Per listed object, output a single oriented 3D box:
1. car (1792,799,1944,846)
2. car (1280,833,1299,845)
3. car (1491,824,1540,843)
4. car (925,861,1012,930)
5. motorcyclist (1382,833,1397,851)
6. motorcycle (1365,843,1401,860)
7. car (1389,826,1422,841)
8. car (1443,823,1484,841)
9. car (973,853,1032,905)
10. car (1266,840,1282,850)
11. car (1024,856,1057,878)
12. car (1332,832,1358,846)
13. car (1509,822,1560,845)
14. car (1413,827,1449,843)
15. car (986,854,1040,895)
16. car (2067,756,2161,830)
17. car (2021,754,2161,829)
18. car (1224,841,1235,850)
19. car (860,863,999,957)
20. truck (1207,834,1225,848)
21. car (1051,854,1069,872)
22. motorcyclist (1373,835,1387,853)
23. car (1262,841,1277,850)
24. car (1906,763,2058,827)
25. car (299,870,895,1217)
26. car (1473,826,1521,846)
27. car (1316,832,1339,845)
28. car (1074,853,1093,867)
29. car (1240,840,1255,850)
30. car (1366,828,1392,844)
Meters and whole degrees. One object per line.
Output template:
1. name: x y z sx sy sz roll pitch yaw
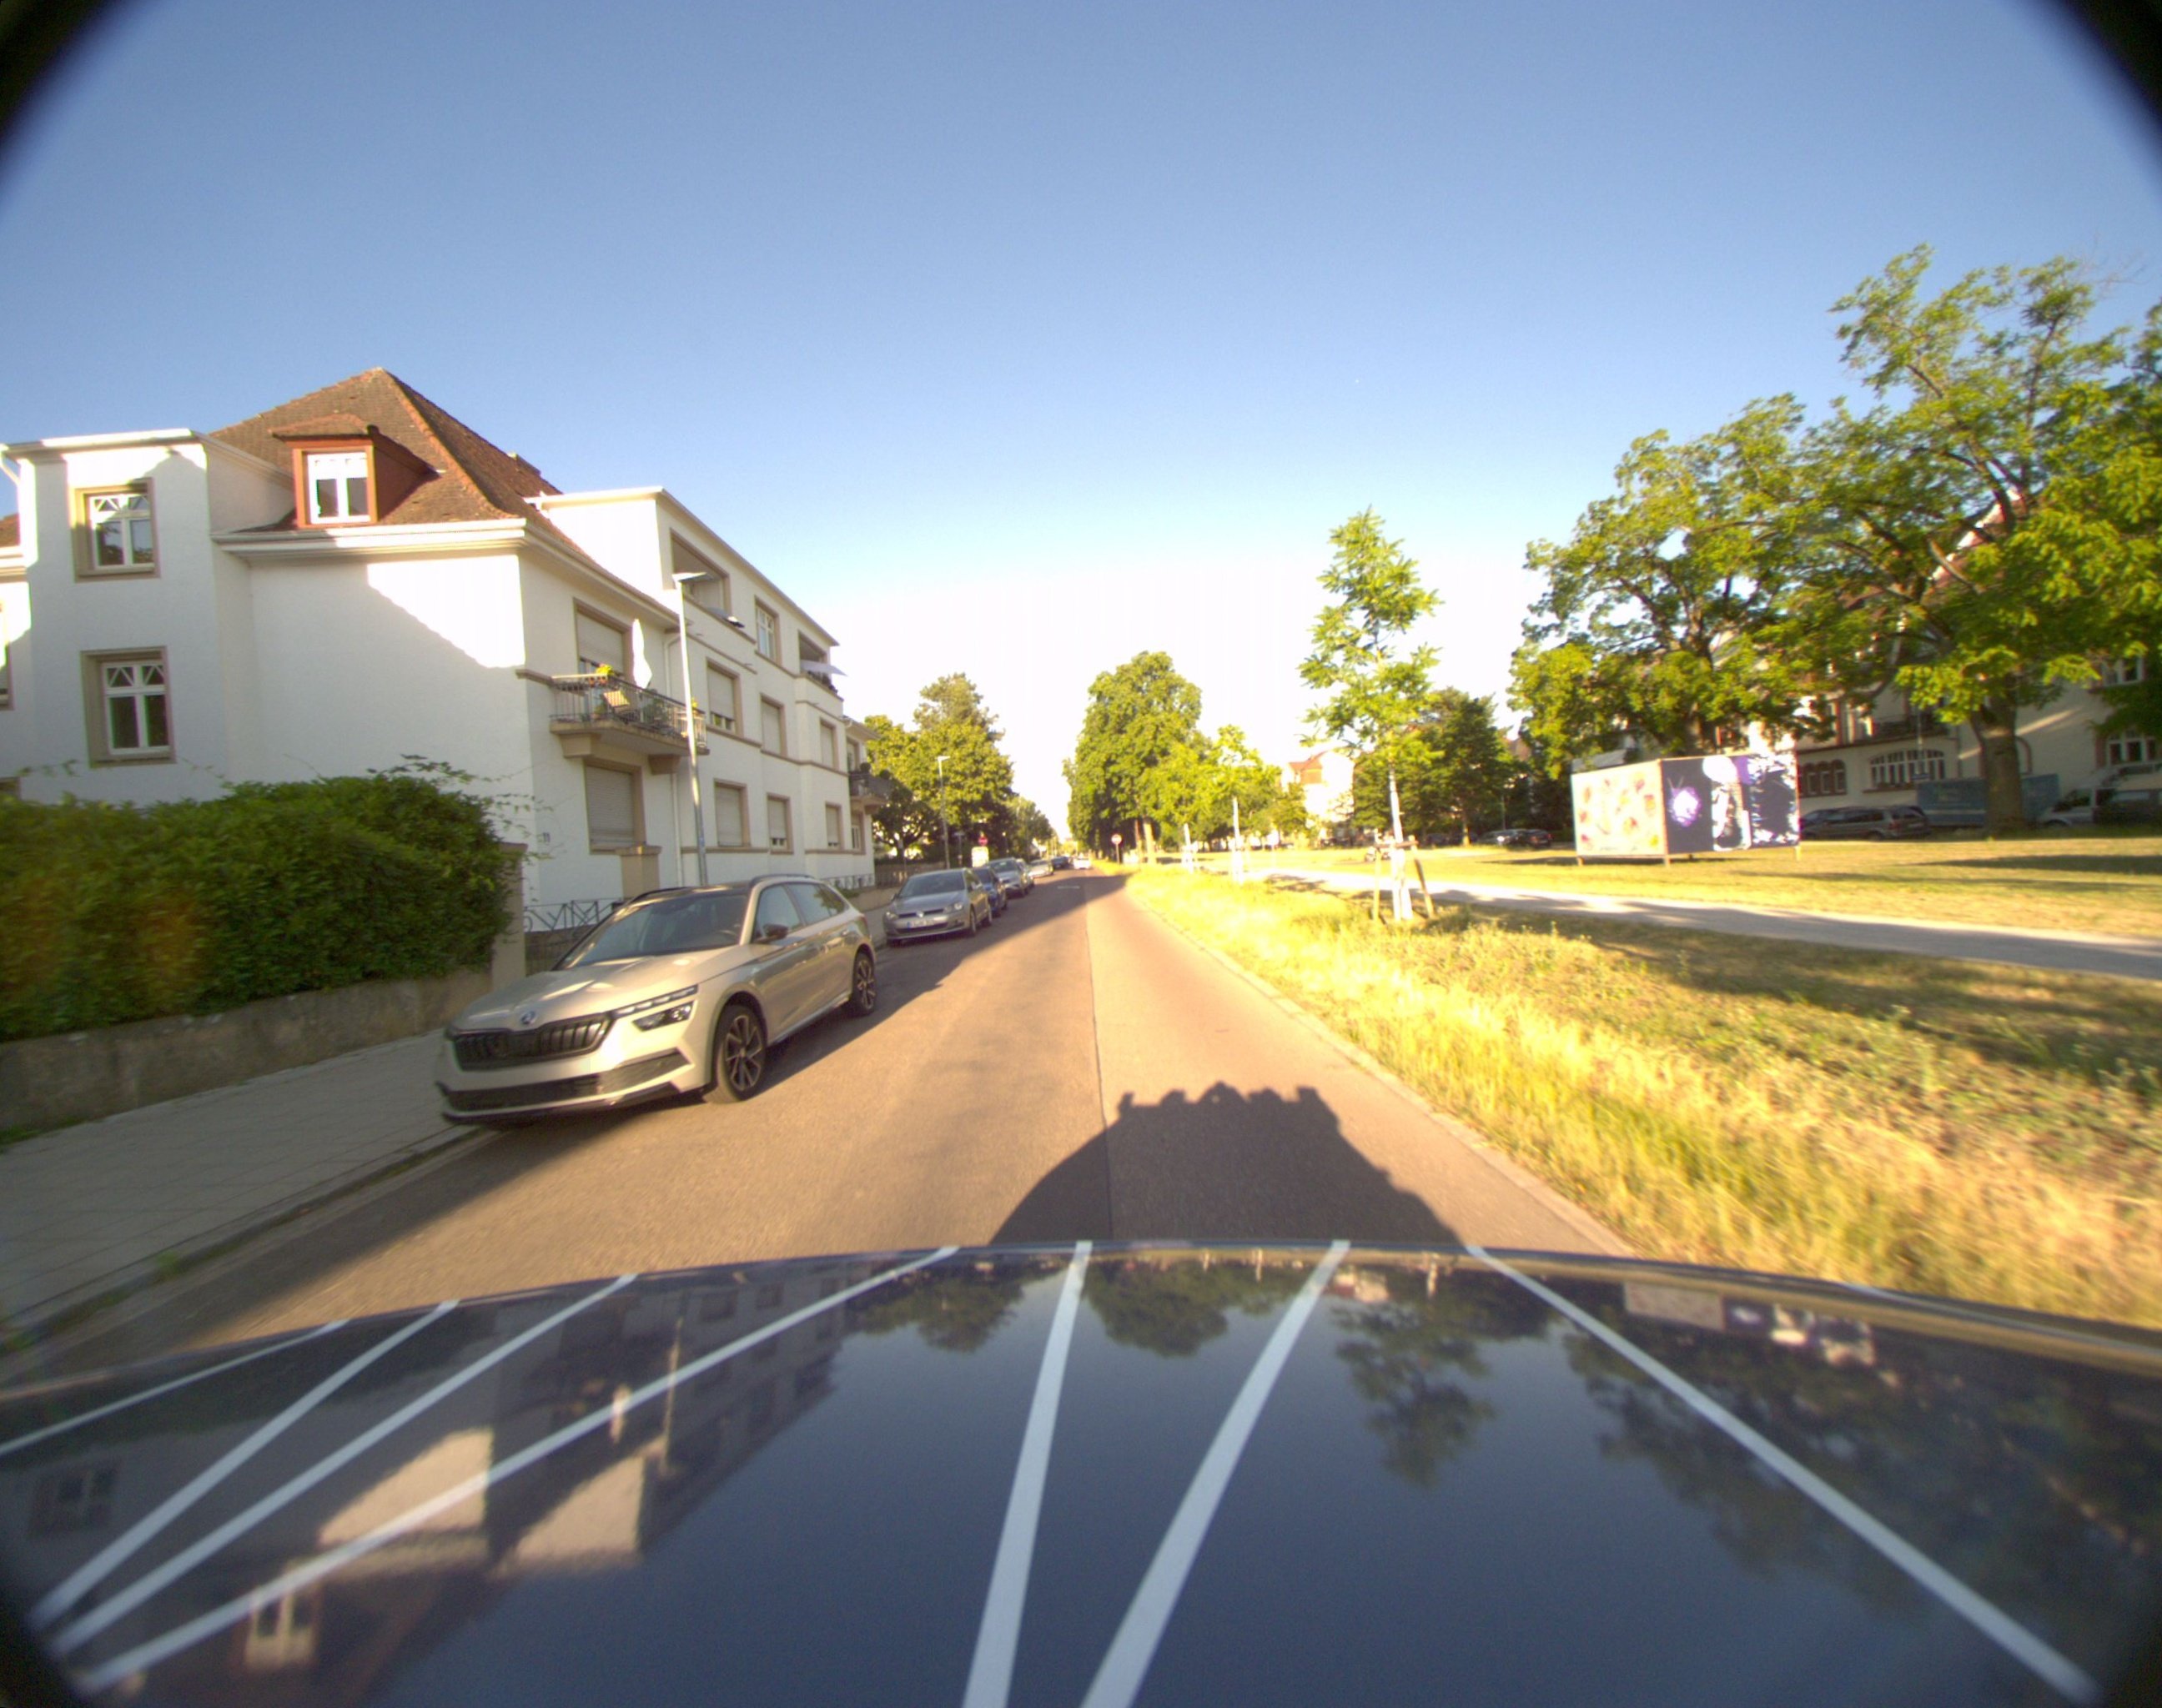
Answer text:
1. car: 34.020 -1.313 33.042 1.999 1.718 4.344 -3 0 -1
2. car: 34.325 -2.448 125.397 1.998 1.692 4.000 -3 0 0
3. car: 39.827 -1.874 69.719 1.999 1.490 3.999 -3 0 -4
4. car: -3.150 1.114 22.047 1.767 1.427 4.302 -9 1 -1
5. motorcyclist: 20.273 -0.796 49.926 0.575 1.143 0.750 -3 0 -1
6. motorcycle: 19.834 -0.177 49.907 2.110 0.951 0.566 -4 0 -2
7. car: 33.637 -2.136 78.814 1.560 1.323 3.642 -3 0 -4
8. car: 33.823 -1.940 67.321 1.560 1.360 3.642 -3 0 -4
9. car: -3.120 0.928 30.930 1.806 1.639 4.582 -8 2 -1
10. car: 39.334 -1.855 154.965 1.999 1.872 3.998 0 1 -3
11. car: -3.141 0.997 59.961 2.111 1.396 4.132 -8 0 1
12. car: 34.043 -1.967 98.214 1.998 1.834 3.999 0 1 1
13. car: 34.191 -1.521 57.393 1.894 1.513 3.681 -3 0 6
14. car: 33.880 -1.818 73.615 1.560 1.408 3.642 -3 0 -4
15. car: -3.212 0.925 36.770 1.880 1.525 4.589 -9 1 2
16. car: 33.873 -1.939 22.990 1.999 2.161 4.570 -3 0 -2
17. car: 39.803 -2.303 28.827 1.950 2.625 5.043 0 1 0
18. car: 34.489 -2.040 176.594 1.998 2.002 4.001 -3 0 3
19. car: -3.129 1.097 16.760 1.916 1.550 4.567 -8 -1 0
20. truck: 34.182 -3.245 192.191 2.785 3.128 7.709 -4 0 -1
21. car: -2.716 1.174 97.251 1.998 2.179 4.000 -3 0 1
22. motorcyclist: 19.593 -0.658 49.831 0.575 1.143 0.750 -3 0 -1
23. car: 40.342 -1.767 162.758 1.999 1.834 3.998 0 1 -3
24. car: 39.730 -2.534 33.675 1.998 2.527 3.998 -3 2 0
25. car: -3.208 1.100 6.405 1.888 1.528 4.461 -7 1 2
26. car: 33.788 -1.458 61.835 1.692 1.399 3.642 -3 0 -4
27. car: 33.996 -2.118 104.987 1.998 1.834 3.999 0 1 1
28. car: 0.324 0.668 85.895 1.998 1.483 4.000 -3 1 0
29. car: 34.280 -1.853 156.375 2.126 2.002 3.998 0 1 -1
30. car: 40.072 -2.415 102.276 1.998 2.002 4.000 -4 0 3
